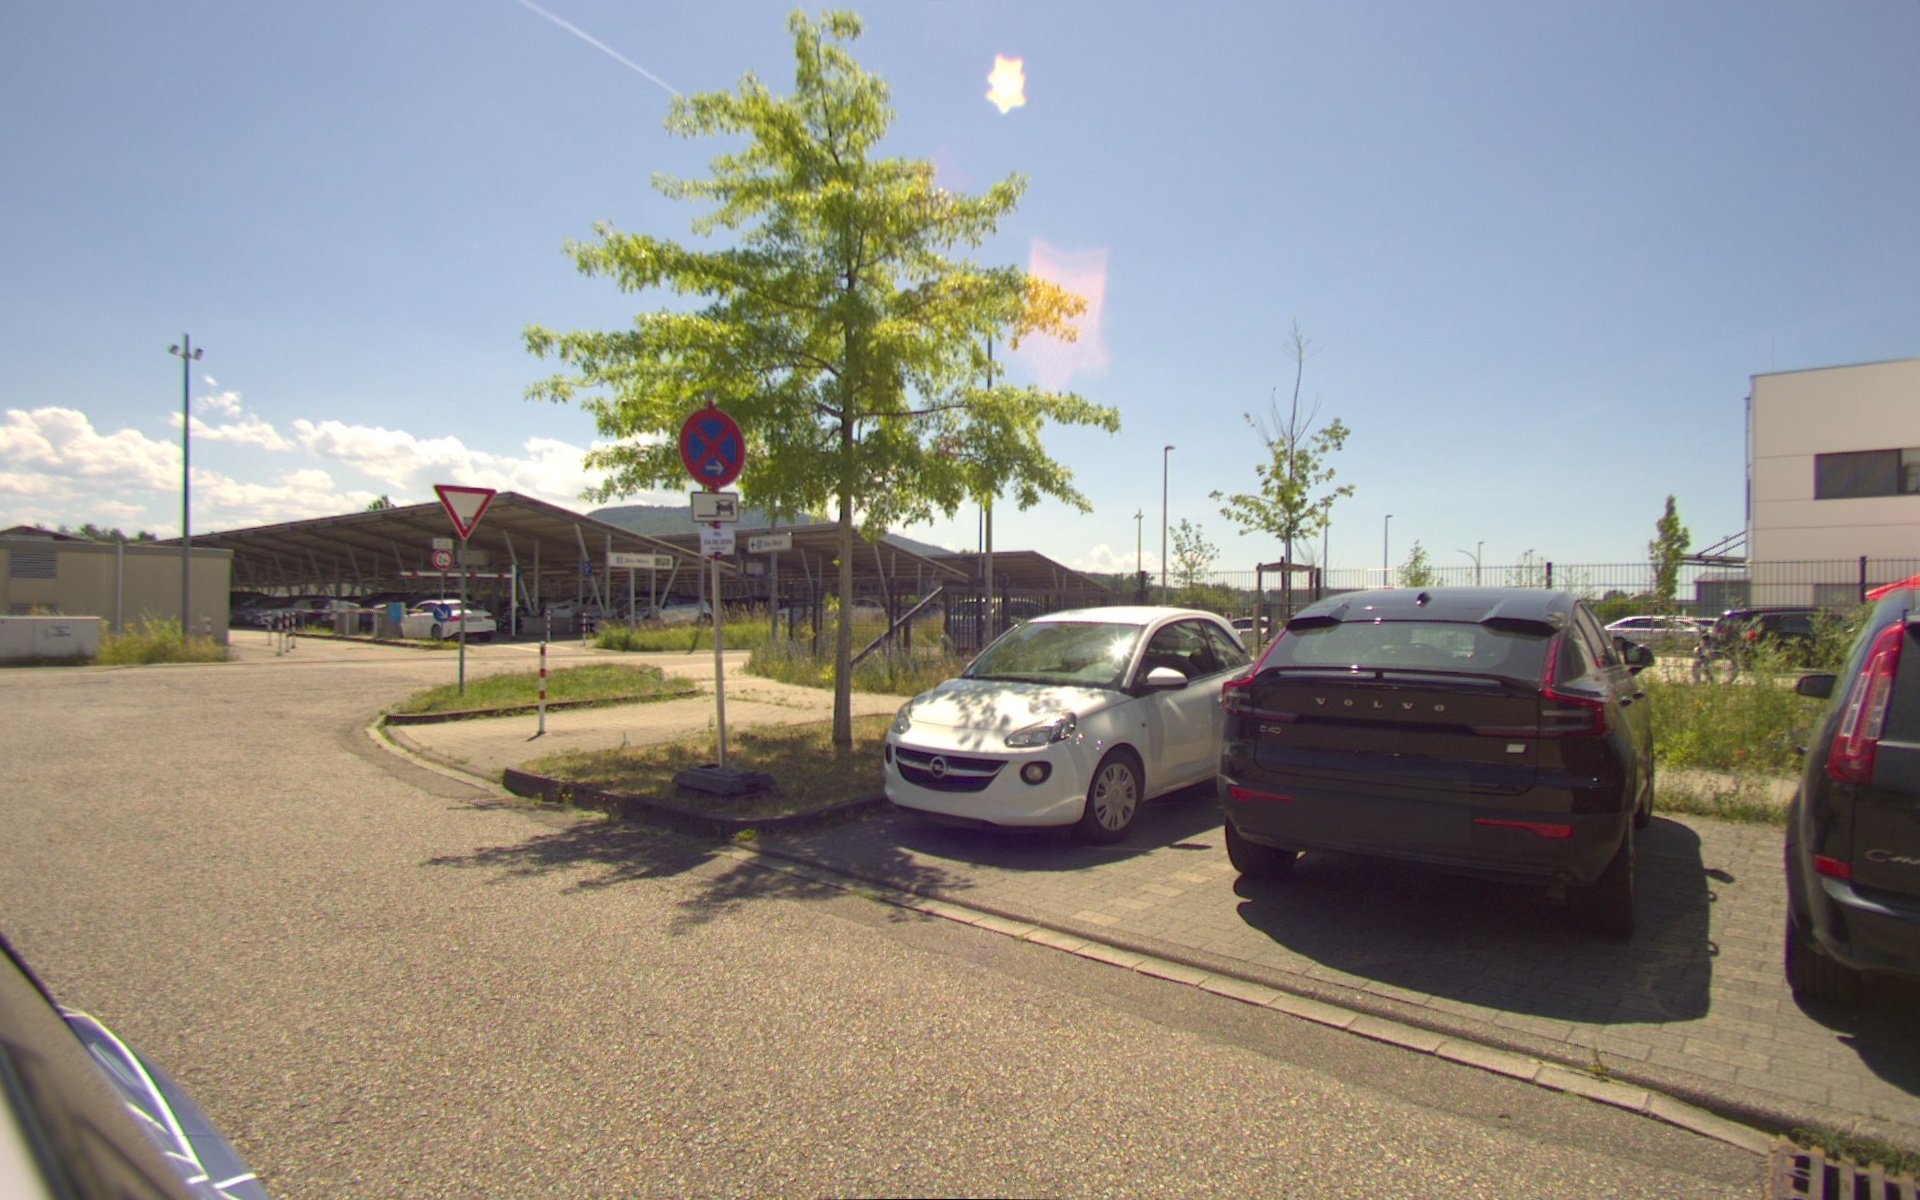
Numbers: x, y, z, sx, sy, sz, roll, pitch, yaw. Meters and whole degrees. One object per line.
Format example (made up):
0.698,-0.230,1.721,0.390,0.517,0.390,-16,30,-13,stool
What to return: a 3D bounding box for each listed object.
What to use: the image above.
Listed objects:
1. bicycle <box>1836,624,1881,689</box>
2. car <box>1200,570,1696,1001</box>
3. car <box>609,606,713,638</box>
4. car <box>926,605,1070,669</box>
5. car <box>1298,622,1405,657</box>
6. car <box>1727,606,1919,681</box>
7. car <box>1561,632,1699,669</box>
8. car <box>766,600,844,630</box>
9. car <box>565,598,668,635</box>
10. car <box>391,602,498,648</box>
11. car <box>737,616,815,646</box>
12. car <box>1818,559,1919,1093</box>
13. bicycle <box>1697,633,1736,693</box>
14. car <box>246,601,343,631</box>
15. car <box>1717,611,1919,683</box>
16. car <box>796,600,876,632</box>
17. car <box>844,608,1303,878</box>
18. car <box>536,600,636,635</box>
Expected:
14.338,0.888,16.169,0.461,0.989,1.576,-1,-2,39,bicycle
3.046,0.694,5.848,1.827,1.605,3.802,-1,0,38,car
-11.965,0.912,40.715,1.721,1.237,3.728,-1,-2,37,car
1.003,0.912,25.149,1.722,1.475,3.632,-1,-2,39,car
18.268,1.809,47.311,4.401,1.526,1.676,-1,-2,41,car
20.230,0.983,23.328,3.997,1.614,1.758,-1,-2,40,car
26.250,1.950,39.733,4.335,1.349,1.758,-1,-2,40,car
-7.694,0.773,50.542,1.721,1.447,3.728,-1,-2,37,car
-14.266,0.713,42.183,1.721,1.447,3.728,-1,-2,37,car
-17.305,0.830,33.925,3.770,1.447,1.702,-1,-2,37,car
-9.422,1.586,51.987,1.721,1.447,3.728,-1,-2,37,car
4.612,0.662,4.087,1.726,1.604,3.866,-1,0,40,car
13.077,1.072,17.480,0.461,0.989,1.576,-1,-2,39,bicycle
-33.712,0.848,51.333,1.721,1.447,3.728,-1,-2,37,car
21.738,1.140,25.633,3.997,1.697,1.758,-1,-2,40,car
-5.951,0.804,48.759,1.721,1.447,3.728,-1,-2,37,car
1.005,0.812,7.478,1.726,1.452,3.468,-1,0,40,car
-16.190,0.792,43.962,1.721,1.447,3.728,-1,-2,37,car
